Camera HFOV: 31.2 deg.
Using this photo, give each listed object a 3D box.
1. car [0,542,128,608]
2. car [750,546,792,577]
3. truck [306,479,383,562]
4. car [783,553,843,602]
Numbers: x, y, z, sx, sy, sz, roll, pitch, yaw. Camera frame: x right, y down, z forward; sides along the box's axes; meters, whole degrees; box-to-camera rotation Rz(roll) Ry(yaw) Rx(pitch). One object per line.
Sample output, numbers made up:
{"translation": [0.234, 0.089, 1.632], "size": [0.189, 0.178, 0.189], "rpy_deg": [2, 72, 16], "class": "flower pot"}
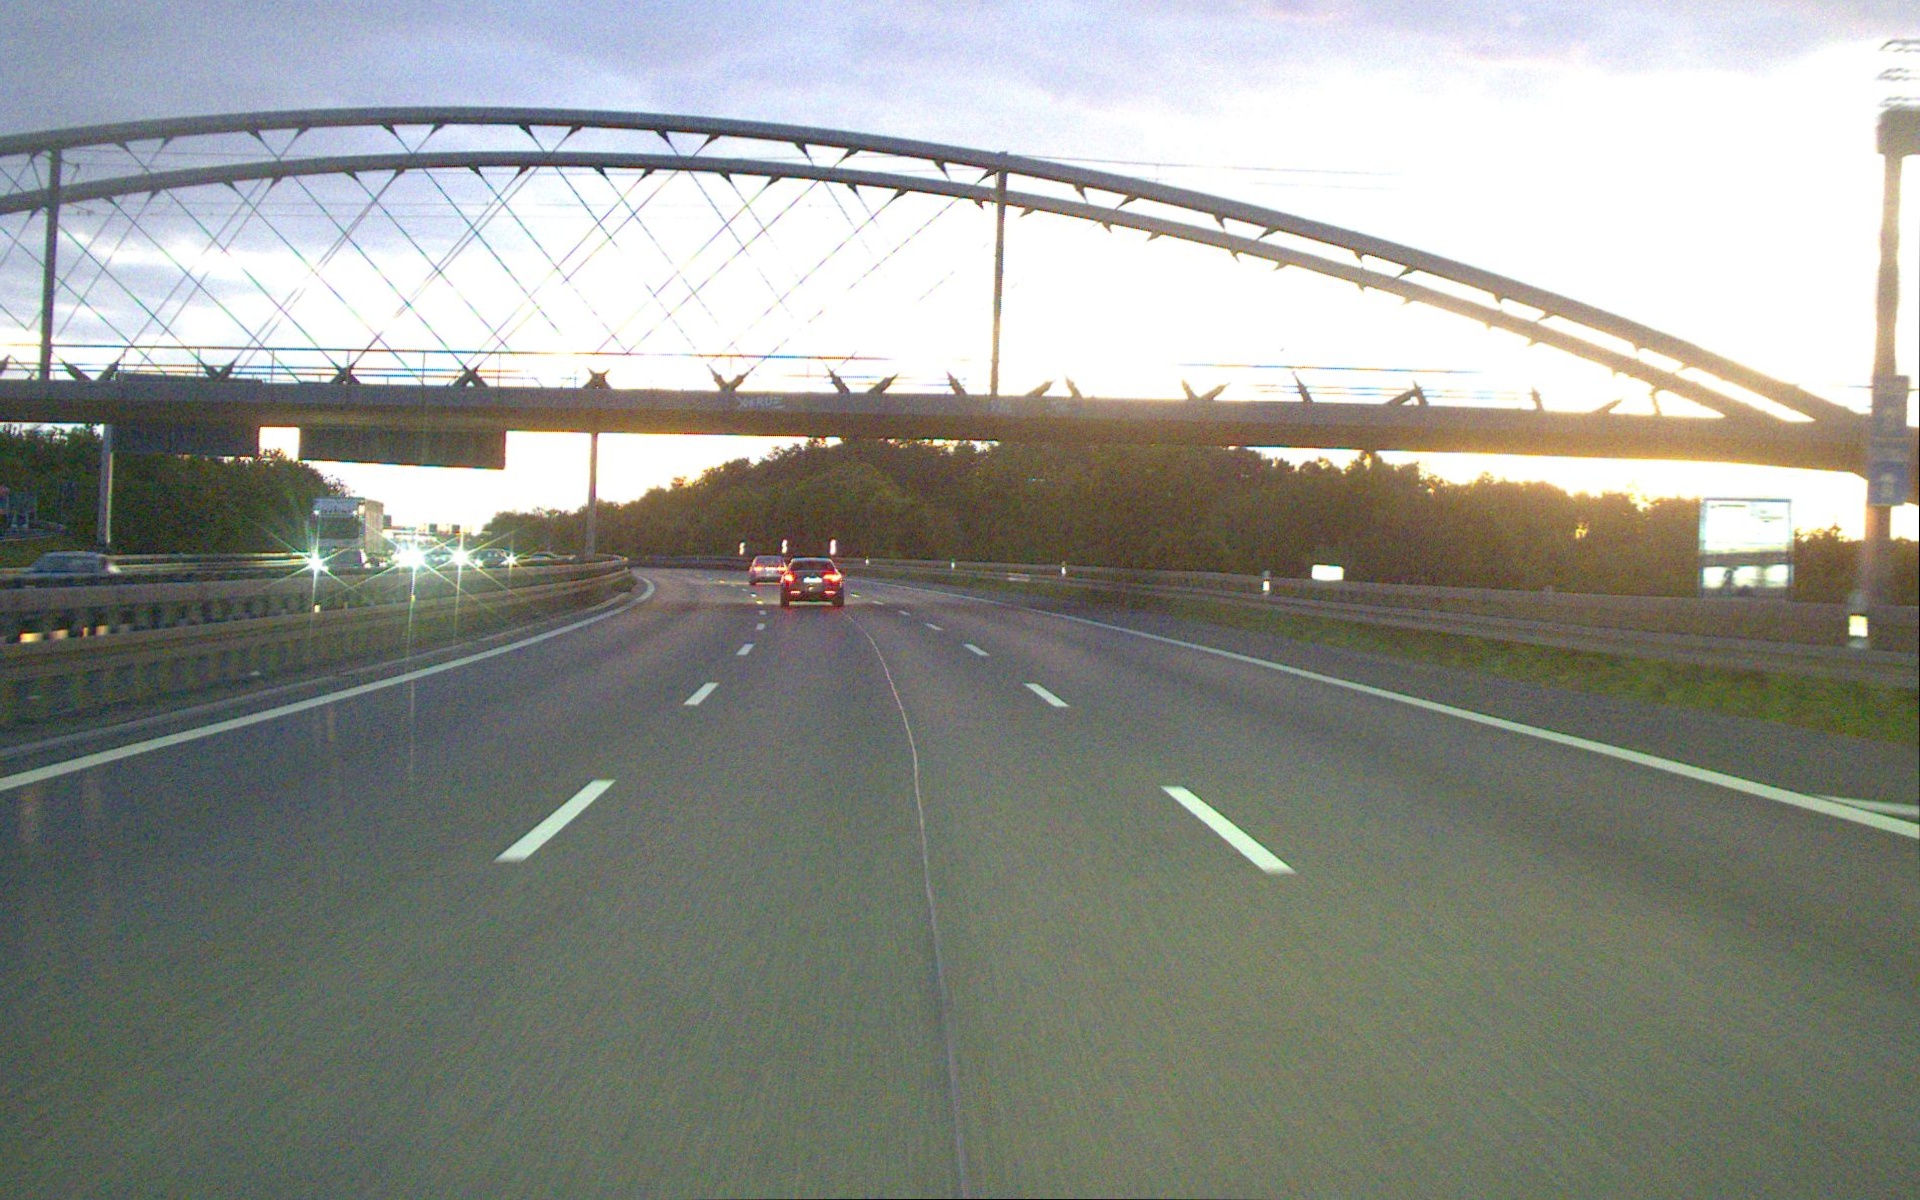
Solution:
{"translation": [-19.957, -0.575, 76.422], "size": [1.993, 1.399, 4.330], "rpy_deg": [0, 1, -2], "class": "car"}
{"translation": [-9.040, -1.851, 164.563], "size": [1.689, 1.397, 3.408], "rpy_deg": [0, -1, 2], "class": "car"}
{"translation": [-31.107, -3.989, 174.078], "size": [2.824, 4.035, 12.217], "rpy_deg": [0, 1, -5], "class": "truck"}
{"translation": [-4.381, -0.656, 101.936], "size": [1.689, 1.397, 3.409], "rpy_deg": [1, 0, -4], "class": "car"}
